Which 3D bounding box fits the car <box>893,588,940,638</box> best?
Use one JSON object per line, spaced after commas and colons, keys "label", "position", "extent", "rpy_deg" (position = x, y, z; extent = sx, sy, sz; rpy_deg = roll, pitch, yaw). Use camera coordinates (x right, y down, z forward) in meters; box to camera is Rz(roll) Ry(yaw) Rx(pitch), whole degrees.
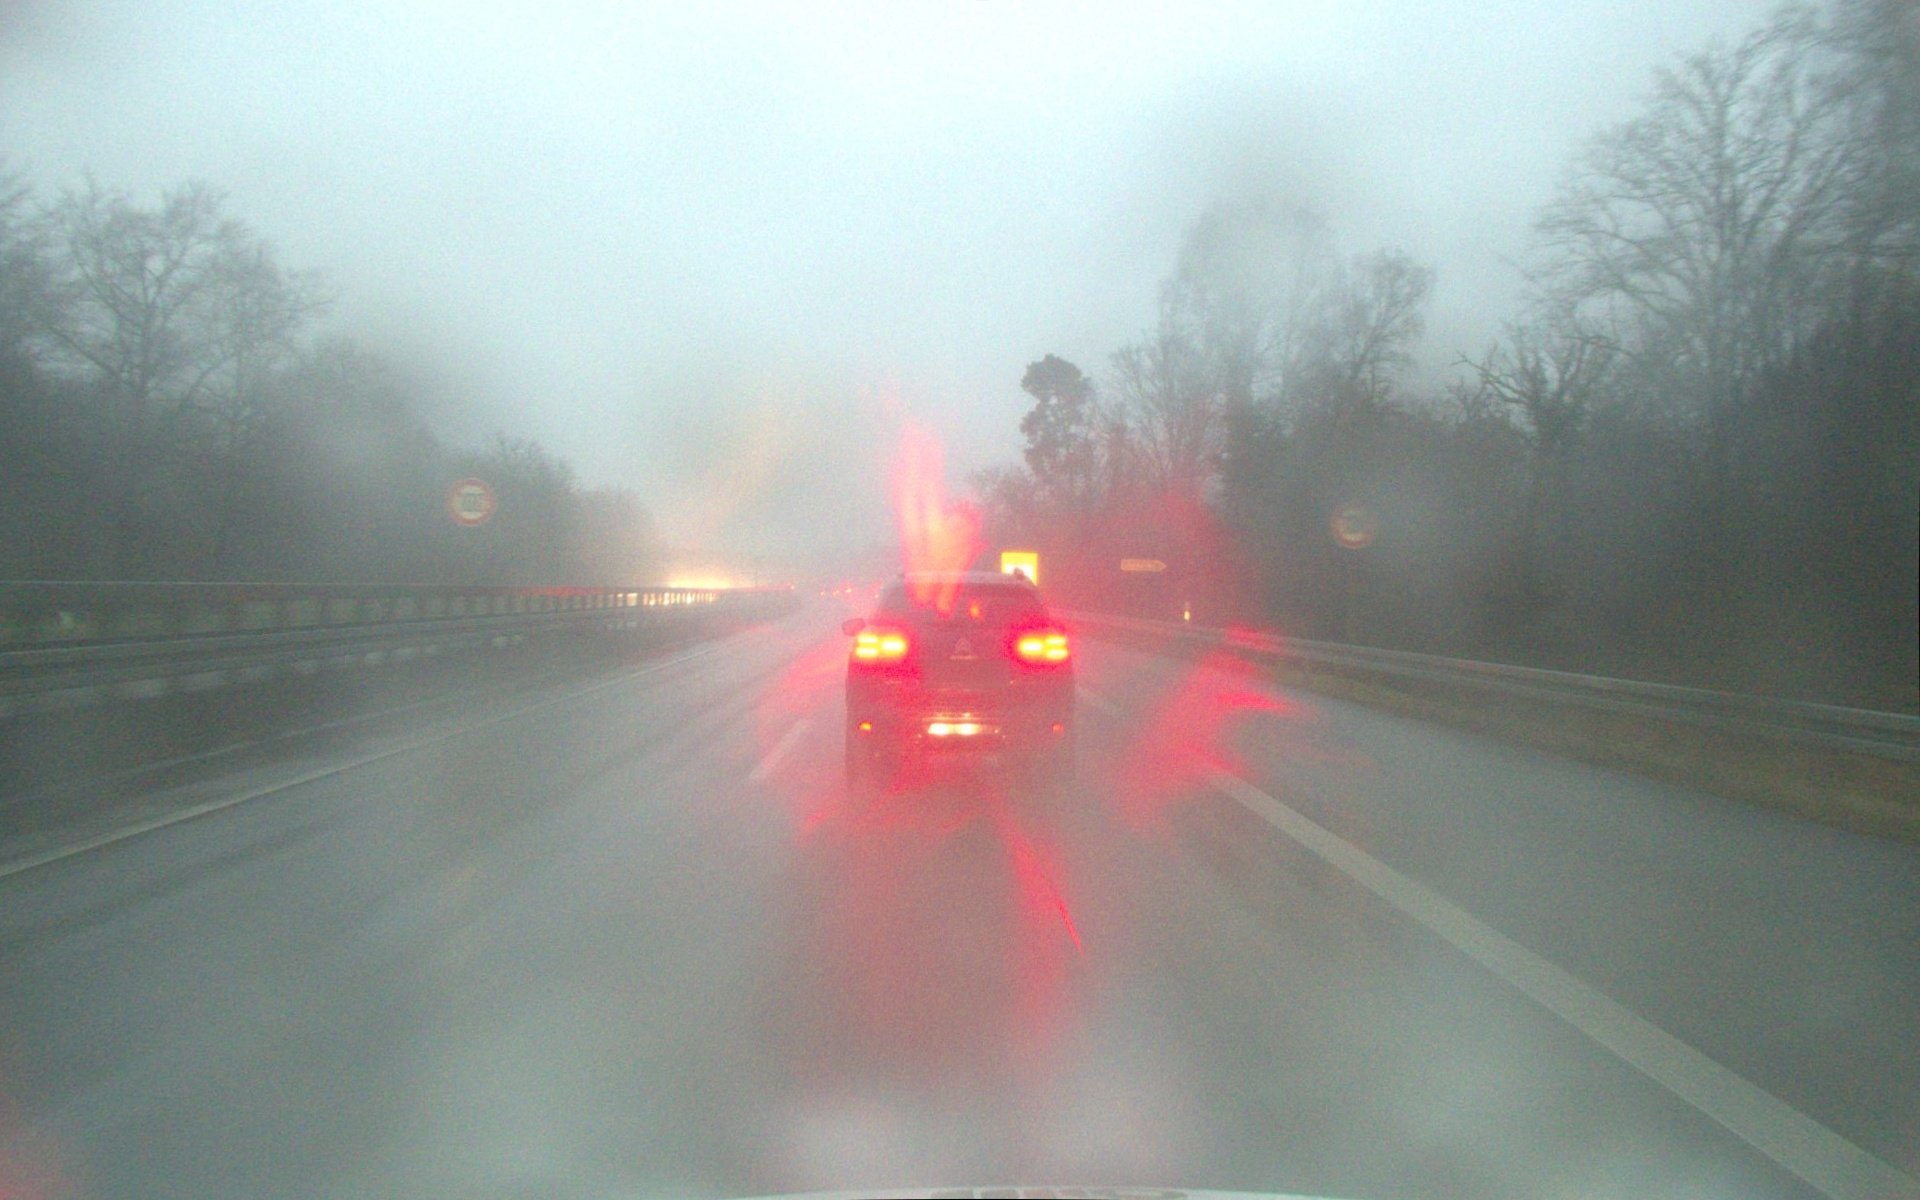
{"label": "car", "position": [-1.857, 0.529, 70.301], "extent": [1.953, 2.049, 3.999], "rpy_deg": [1, 0, -2]}

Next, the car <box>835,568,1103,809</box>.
{"label": "car", "position": [0.017, 0.647, 14.046], "extent": [1.952, 1.745, 3.829], "rpy_deg": [1, 0, -2]}
